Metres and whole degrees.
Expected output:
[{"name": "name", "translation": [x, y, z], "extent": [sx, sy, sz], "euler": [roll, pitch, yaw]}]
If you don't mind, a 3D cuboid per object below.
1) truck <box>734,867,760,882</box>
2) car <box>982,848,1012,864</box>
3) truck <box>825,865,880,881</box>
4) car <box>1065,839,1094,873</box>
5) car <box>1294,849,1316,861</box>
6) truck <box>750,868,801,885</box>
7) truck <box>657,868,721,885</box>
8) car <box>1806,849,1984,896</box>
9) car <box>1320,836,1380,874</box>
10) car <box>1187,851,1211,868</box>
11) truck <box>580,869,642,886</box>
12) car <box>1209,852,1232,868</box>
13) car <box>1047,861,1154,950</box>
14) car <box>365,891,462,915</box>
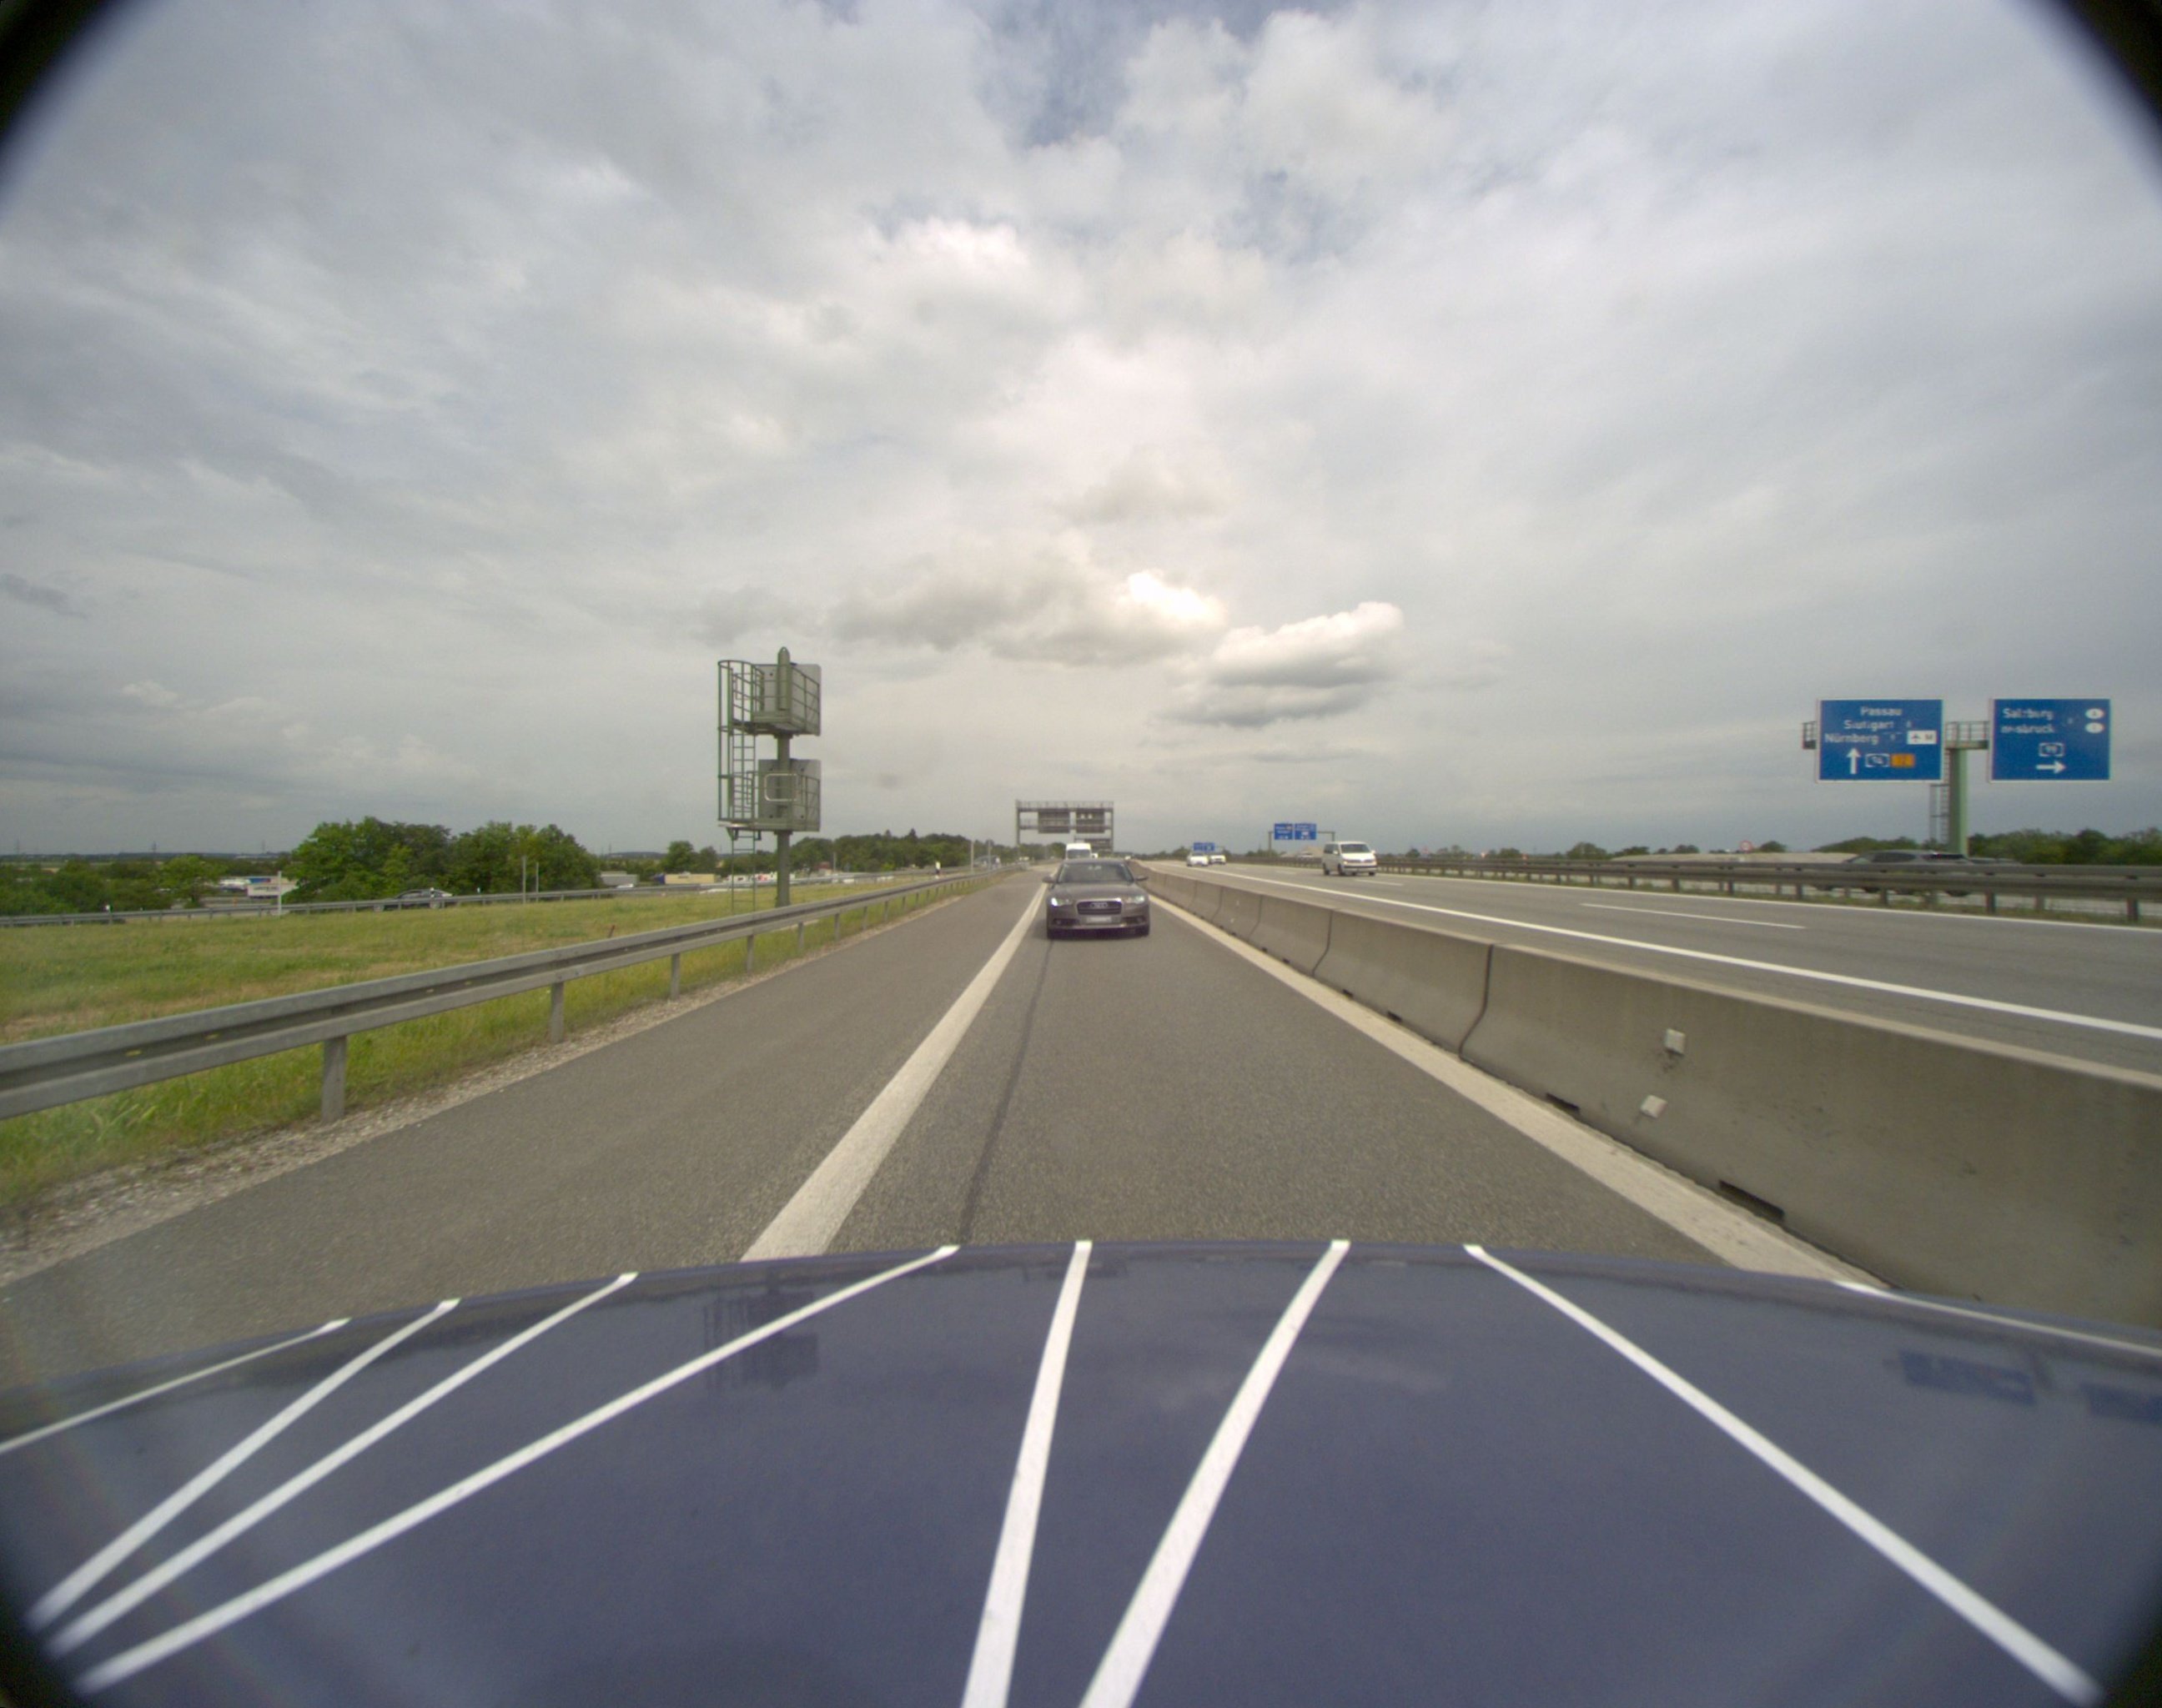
[{"name": "truck", "translation": [-101.744, 6.258, 231.636], "extent": [6.295, 4.484, 3.928], "euler": [-2, 0, -11]}, {"name": "car", "translation": [-9.402, 0.242, 85.291], "extent": [1.927, 1.761, 4.005], "euler": [-2, -1, 14]}, {"name": "truck", "translation": [-71.684, 5.944, 238.761], "extent": [16.178, 4.673, 3.990], "euler": [-2, 1, -12]}, {"name": "car", "translation": [-0.097, 0.161, 59.601], "extent": [2.119, 2.439, 6.152], "euler": [-2, -1, 0]}, {"name": "car", "translation": [30.672, 0.132, 104.100], "extent": [1.748, 1.613, 4.518], "euler": [-2, -1, 2]}, {"name": "truck", "translation": [-93.731, 6.880, 233.373], "extent": [13.795, 4.527, 4.004], "euler": [-2, 0, -12]}, {"name": "truck", "translation": [-117.787, 6.759, 228.687], "extent": [16.370, 4.527, 4.005], "euler": [-2, 0, -12]}, {"name": "car", "translation": [26.743, 0.556, 25.187], "extent": [1.708, 1.390, 4.000], "euler": [-2, 0, 3]}, {"name": "car", "translation": [15.143, 0.076, 43.037], "extent": [1.998, 2.001, 4.467], "euler": [-2, 0, 3]}, {"name": "car", "translation": [12.804, 0.580, 82.930], "extent": [1.998, 1.739, 4.000], "euler": [-2, -1, 1]}, {"name": "truck", "translation": [-138.407, 6.901, 223.844], "extent": [14.888, 4.527, 4.005], "euler": [-2, 0, -11]}, {"name": "car", "translation": [17.232, 0.695, 94.074], "extent": [1.998, 1.870, 4.000], "euler": [-2, 0, 1]}, {"name": "car", "translation": [0.355, 0.879, 14.696], "extent": [1.747, 1.380, 4.000], "euler": [-2, 0, 1]}, {"name": "car", "translation": [-42.554, 3.094, 48.569], "extent": [4.372, 1.273, 1.706], "euler": [-1, 0, -30]}]
